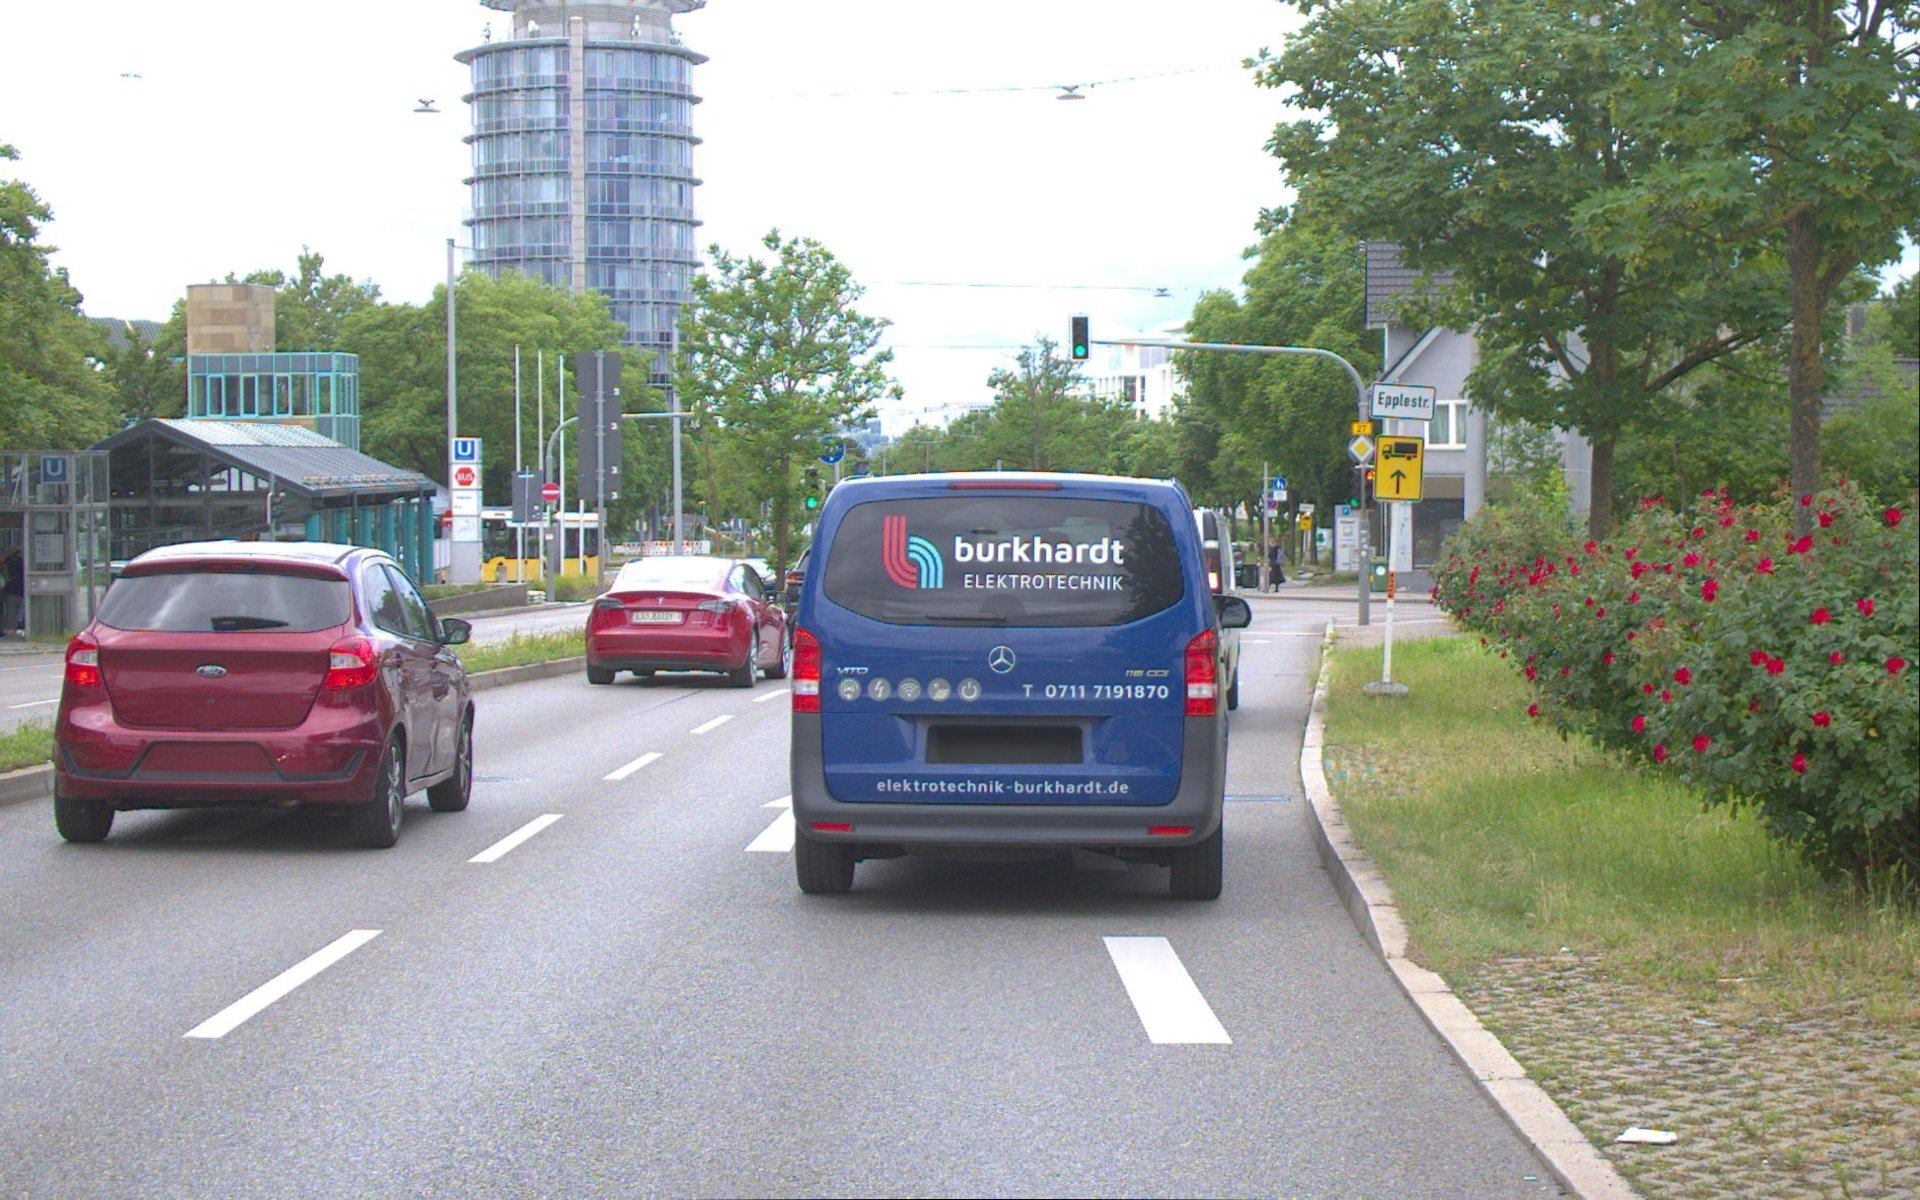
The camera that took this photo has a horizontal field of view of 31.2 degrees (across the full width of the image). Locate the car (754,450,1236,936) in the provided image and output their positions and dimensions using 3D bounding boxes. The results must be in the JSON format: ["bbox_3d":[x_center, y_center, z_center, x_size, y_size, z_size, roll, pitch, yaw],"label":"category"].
[{"bbox_3d":[0.268,0.348,16.326,1.948,1.959,4.541,1,1,3],"label":"car"}]

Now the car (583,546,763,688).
[{"bbox_3d":[-3.202,0.226,39.011,1.868,1.481,4.000,-1,-1,-3],"label":"car"}]

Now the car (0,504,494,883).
[{"bbox_3d":[-3.665,0.415,18.319,1.746,1.717,4.000,3,1,0],"label":"car"}]

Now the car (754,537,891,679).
[{"bbox_3d":[-2.138,0.090,52.969,1.993,2.006,4.001,1,2,-3],"label":"car"}]

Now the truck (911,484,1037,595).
[{"bbox_3d":[0.342,-1.256,71.872,1.994,2.158,5.558,2,1,6],"label":"truck"}]

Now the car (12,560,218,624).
[{"bbox_3d":[-18.248,-0.185,74.364,3.986,1.349,2.000,0,1,-2],"label":"car"}]

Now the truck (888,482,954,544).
[{"bbox_3d":[-2.434,-5.531,220.028,3.368,3.714,11.279,1,1,3],"label":"truck"}]

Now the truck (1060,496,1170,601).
[{"bbox_3d":[3.453,-1.132,75.512,1.994,2.158,5.558,2,1,6],"label":"truck"}]
